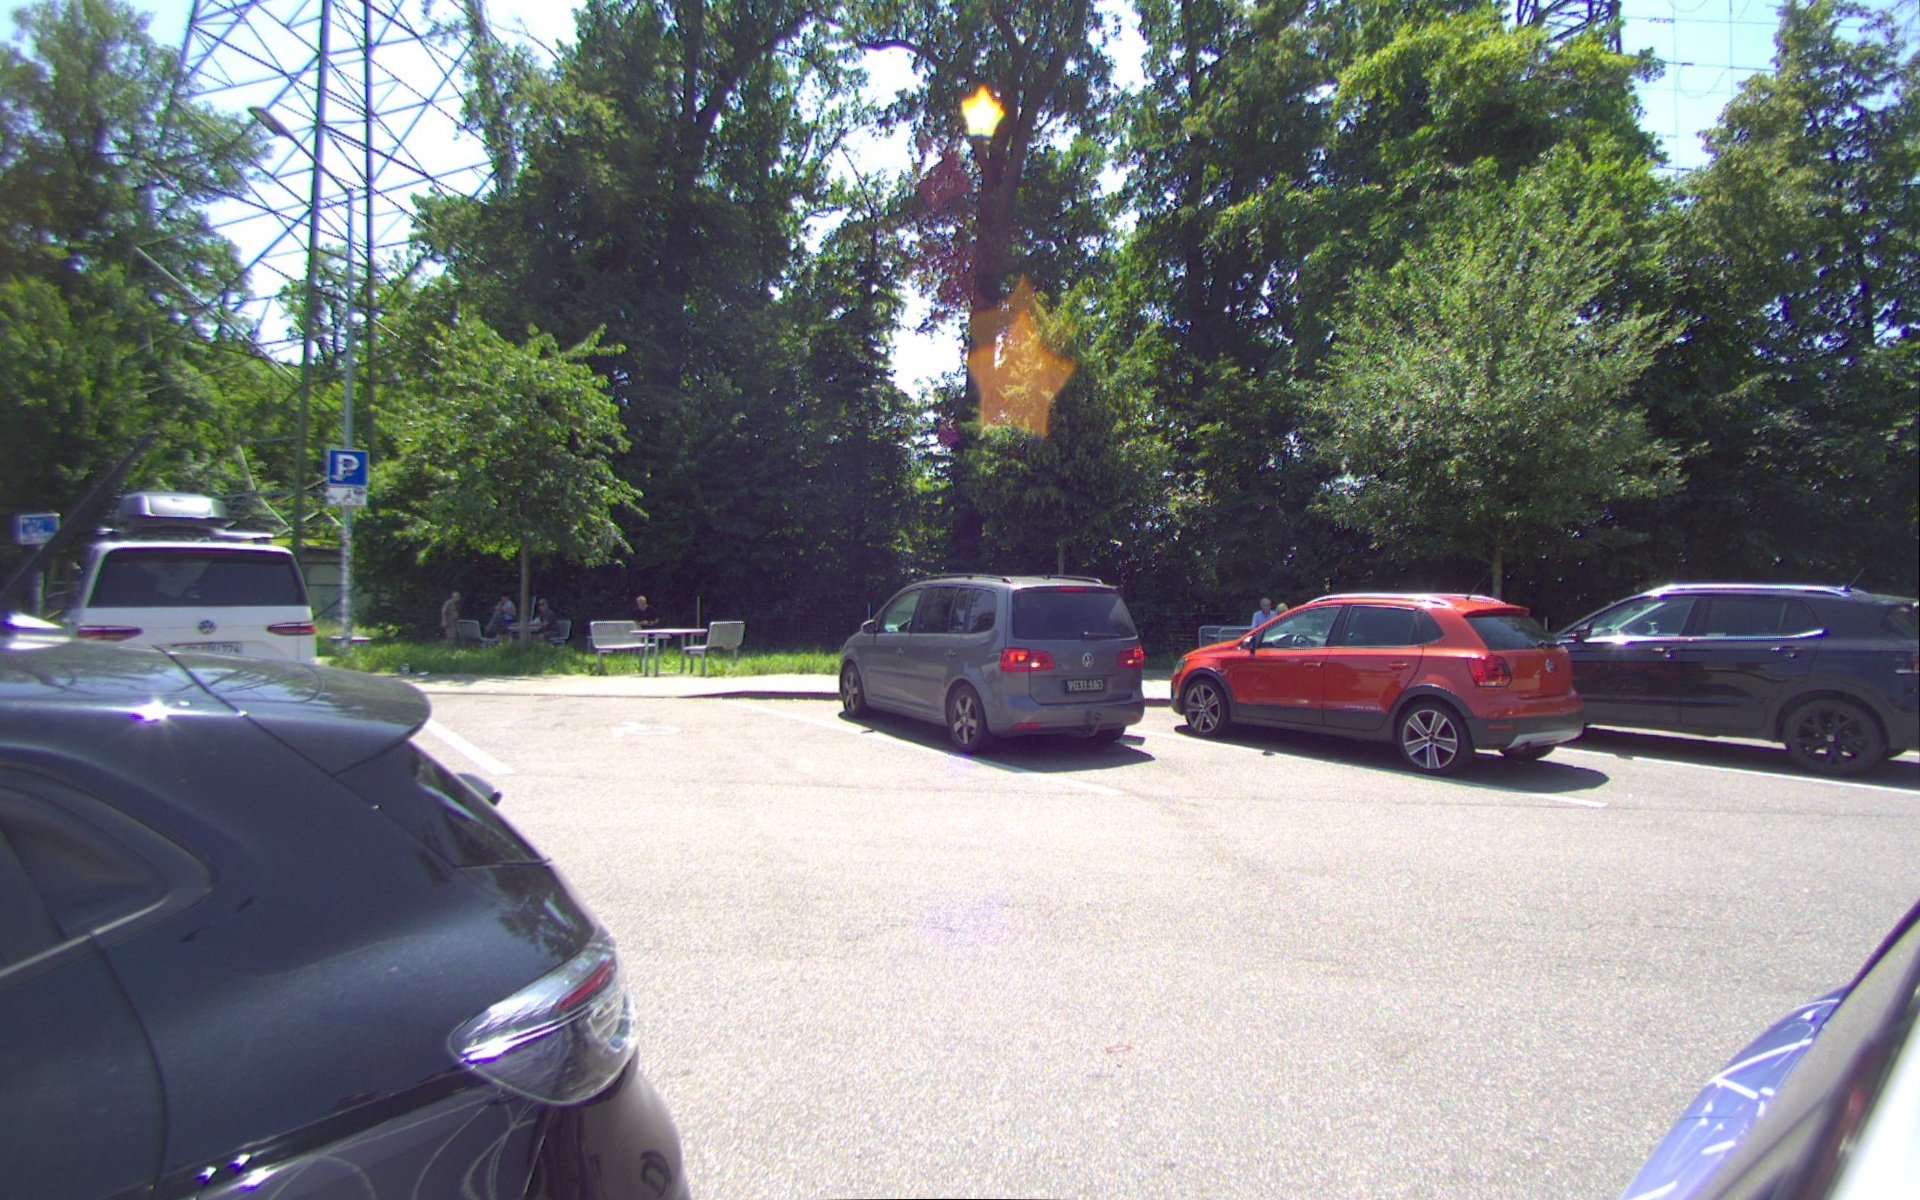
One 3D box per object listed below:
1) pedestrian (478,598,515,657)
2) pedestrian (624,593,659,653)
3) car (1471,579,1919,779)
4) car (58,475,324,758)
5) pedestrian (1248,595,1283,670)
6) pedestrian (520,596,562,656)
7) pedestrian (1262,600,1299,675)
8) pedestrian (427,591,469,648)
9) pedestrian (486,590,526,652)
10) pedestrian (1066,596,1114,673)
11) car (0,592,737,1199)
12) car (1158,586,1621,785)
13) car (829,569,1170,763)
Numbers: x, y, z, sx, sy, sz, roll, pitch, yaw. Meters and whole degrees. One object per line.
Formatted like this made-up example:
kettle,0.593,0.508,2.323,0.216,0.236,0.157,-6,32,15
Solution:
pedestrian,-10.469,0.612,22.853,0.630,1.287,0.579,1,-1,-39
pedestrian,-6.672,0.479,21.208,0.550,1.229,0.599,1,-1,-1
car,7.206,0.588,9.652,1.727,1.566,3.806,0,1,-39
car,-8.098,0.100,10.600,1.885,2.353,4.089,0,1,-40
pedestrian,5.735,0.604,18.997,0.495,1.393,0.491,1,-1,0
pedestrian,-9.750,0.596,23.550,0.722,1.343,0.669,1,-1,-39
pedestrian,5.653,0.654,17.873,0.495,1.316,0.491,1,-1,0
pedestrian,-12.821,0.486,25.347,0.602,1.391,0.702,0,-1,29
pedestrian,-10.982,0.505,24.487,0.722,1.478,0.669,1,-1,-39
pedestrian,2.152,0.576,16.813,0.660,1.235,0.682,1,-2,-5
car,-2.158,0.727,0.562,1.615,1.503,3.706,0,-1,44
car,3.828,0.617,9.628,1.604,1.476,3.810,0,1,-34
car,0.191,0.512,10.530,1.717,1.611,3.961,0,1,-30
